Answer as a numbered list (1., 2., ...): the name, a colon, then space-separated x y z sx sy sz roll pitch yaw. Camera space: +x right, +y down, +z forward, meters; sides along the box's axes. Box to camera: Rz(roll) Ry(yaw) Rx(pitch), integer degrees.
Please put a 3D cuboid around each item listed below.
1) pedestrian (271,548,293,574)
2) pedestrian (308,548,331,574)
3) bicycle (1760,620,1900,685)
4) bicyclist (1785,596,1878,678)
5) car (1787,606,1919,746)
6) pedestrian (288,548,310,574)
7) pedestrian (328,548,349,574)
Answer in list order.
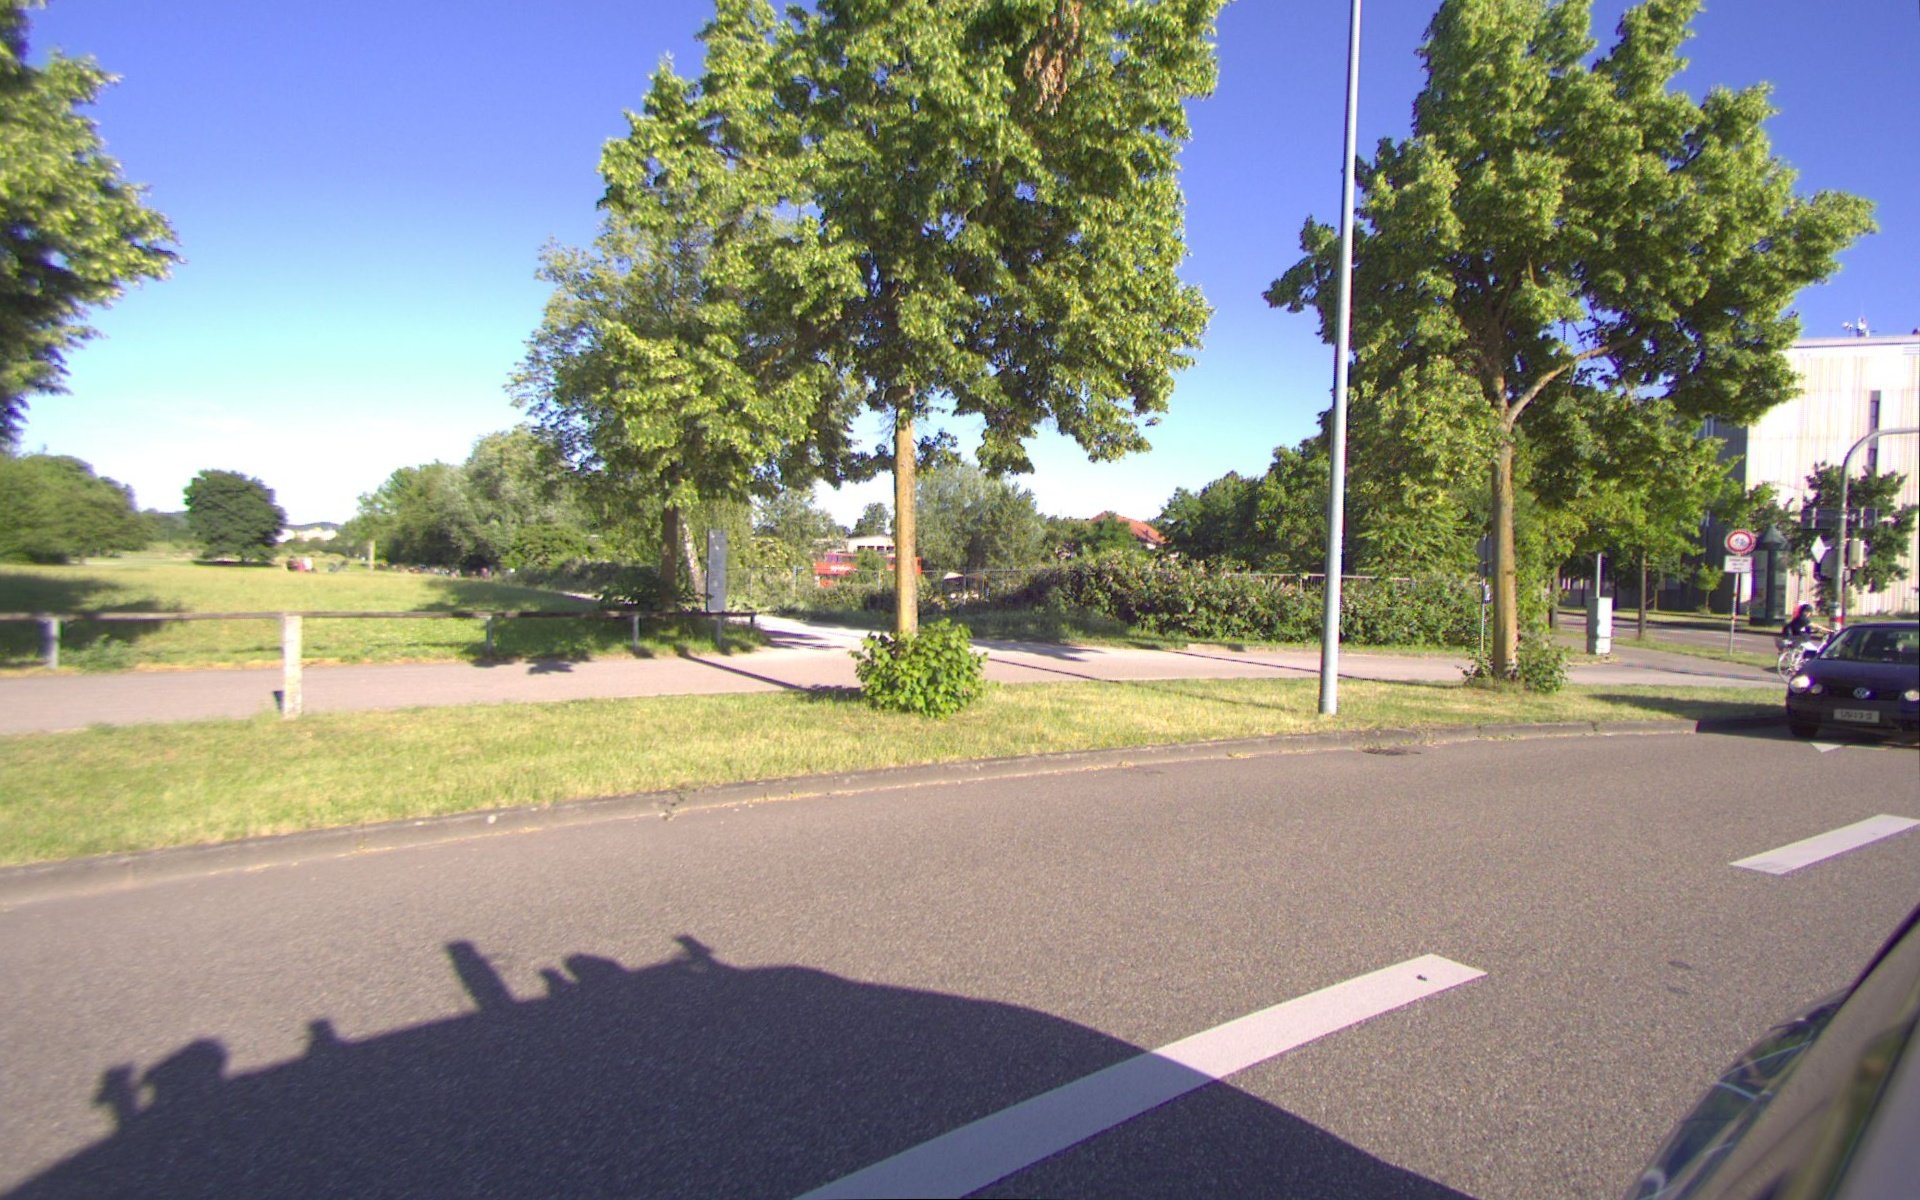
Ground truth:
1. pedestrian: -38.043 -2.177 56.808 0.674 1.458 0.795 2 1 -1
2. pedestrian: -35.984 -2.188 56.837 0.759 1.458 0.795 2 1 -1
3. bicycle: 17.931 1.076 20.883 2.171 1.169 0.878 2 2 -7
4. bicyclist: 17.967 0.743 20.880 1.065 1.580 0.878 2 2 -7
5. car: 12.153 0.861 12.695 4.460 1.486 1.638 1 1 -36
6. pedestrian: -36.892 -2.170 56.486 0.674 1.458 0.795 2 1 -1
7. pedestrian: -34.717 -2.182 56.543 0.649 1.458 0.795 2 1 -1
